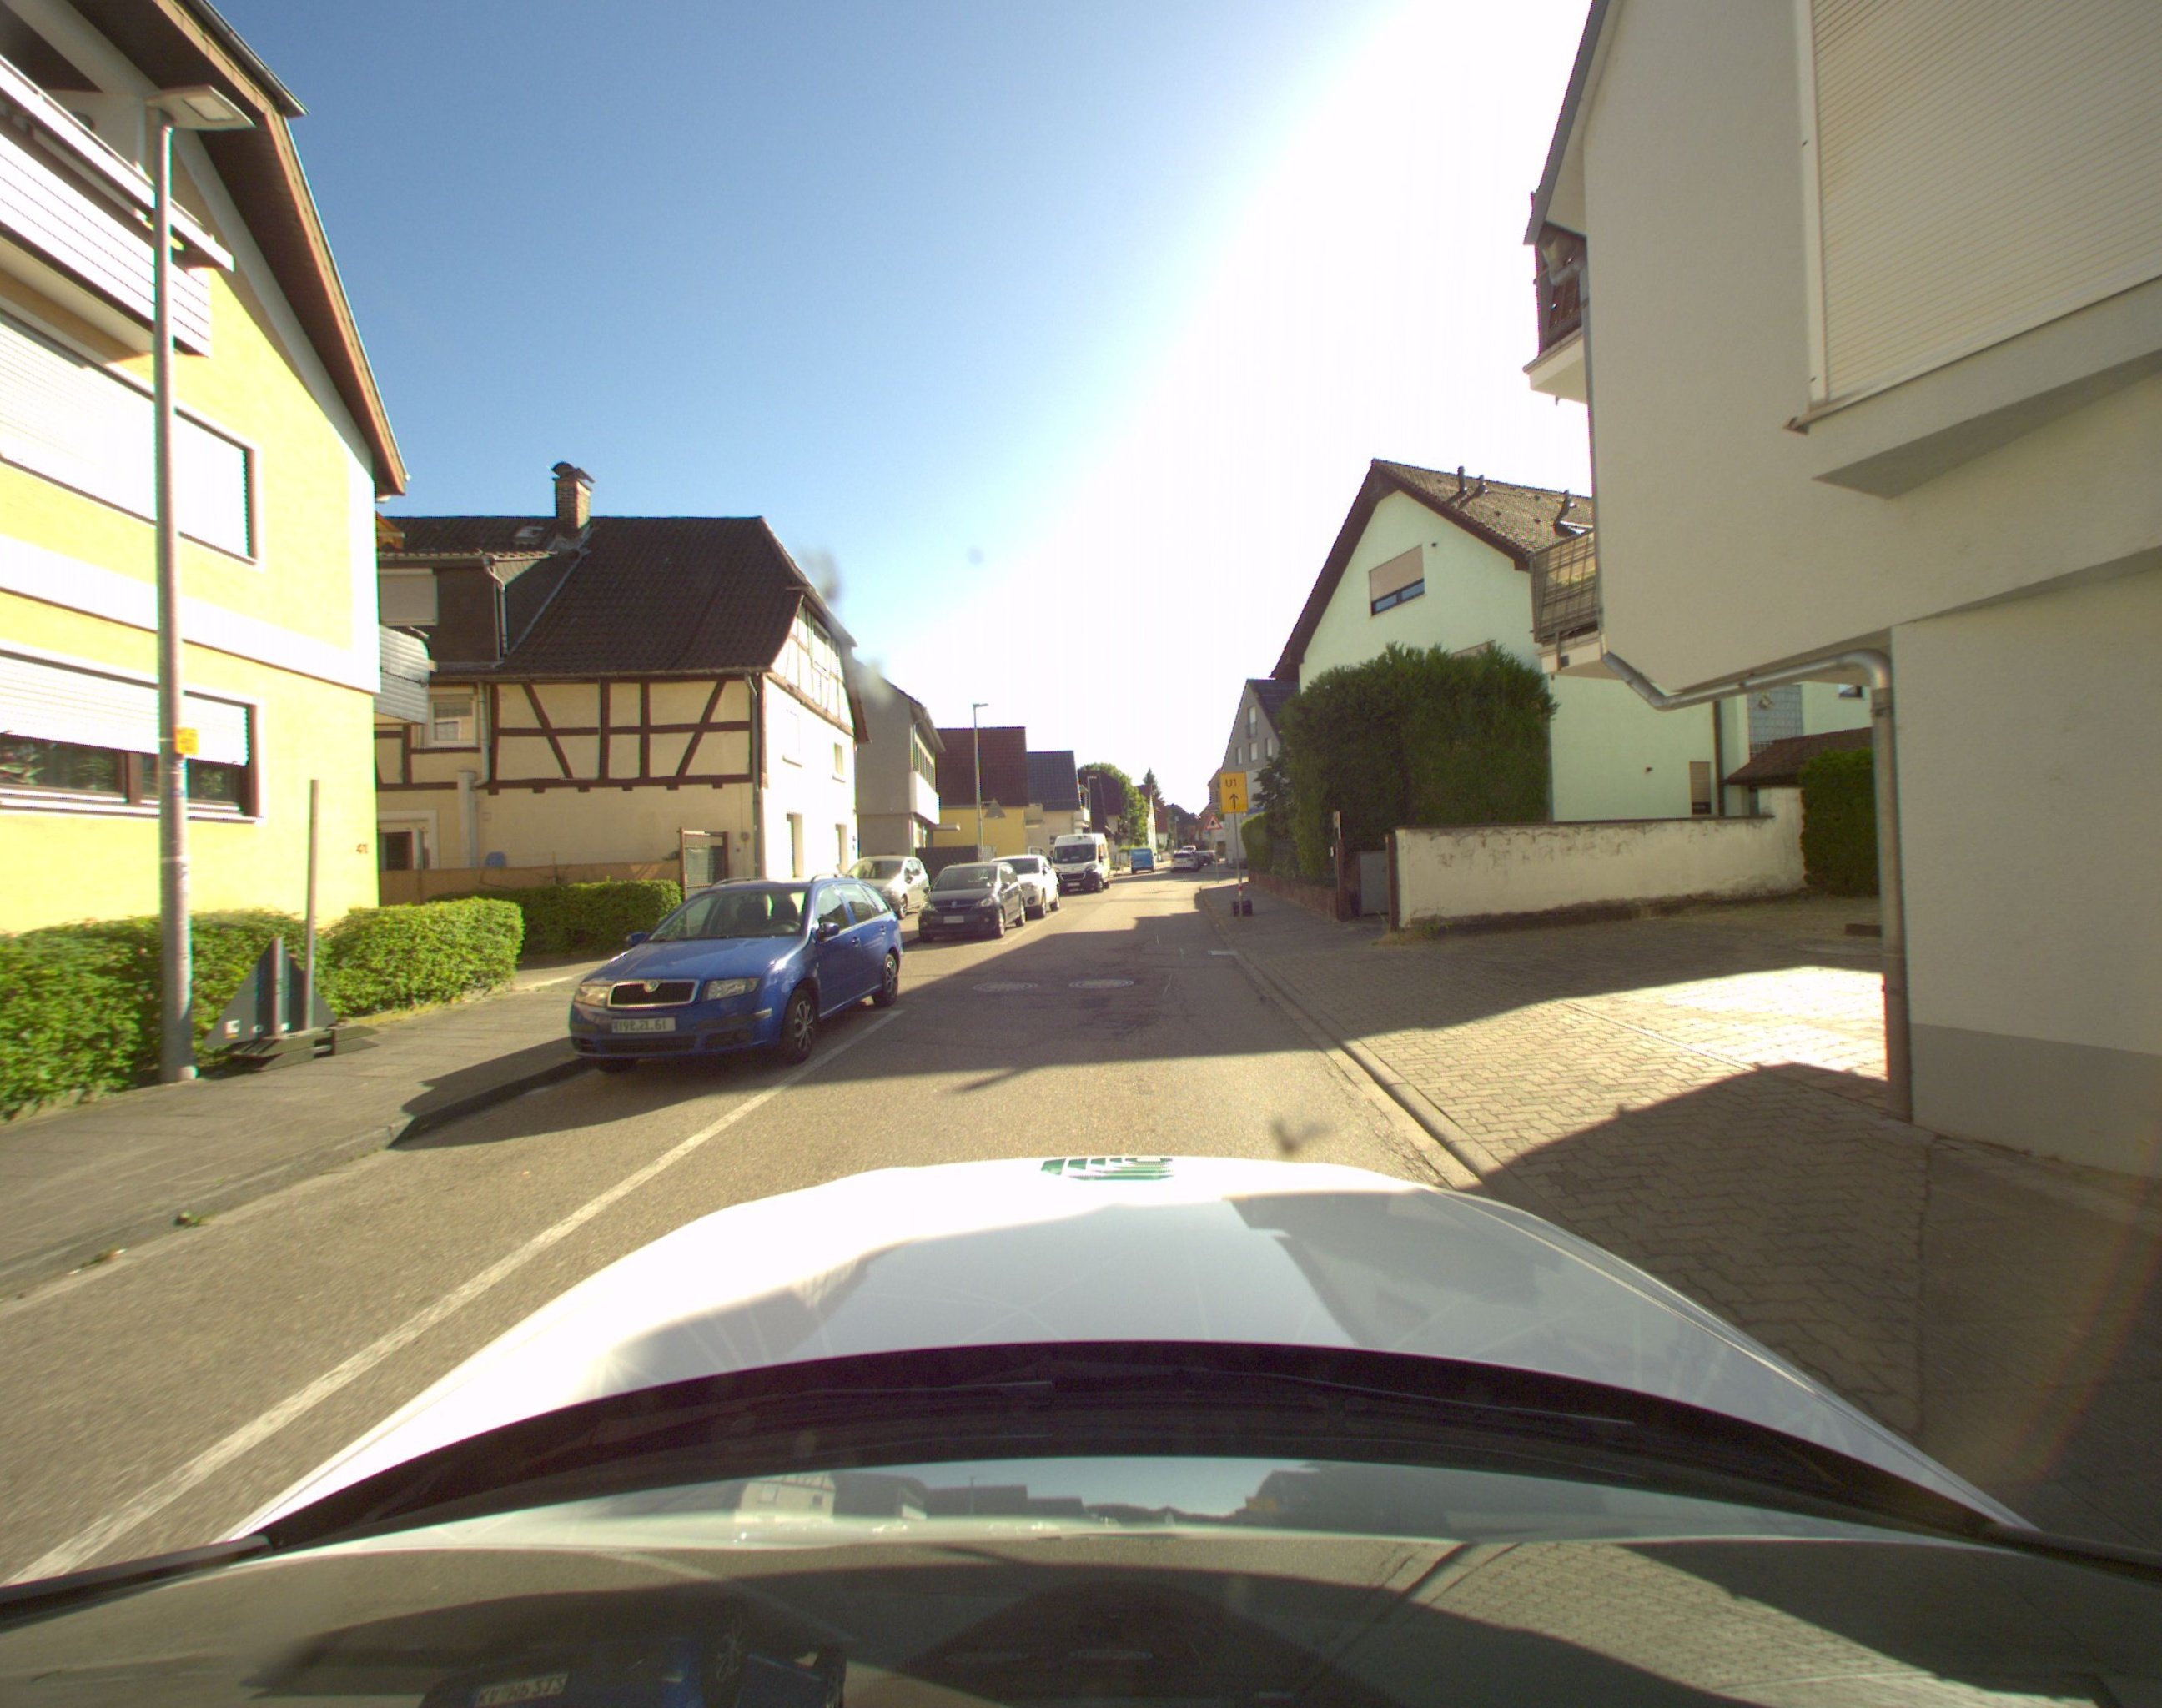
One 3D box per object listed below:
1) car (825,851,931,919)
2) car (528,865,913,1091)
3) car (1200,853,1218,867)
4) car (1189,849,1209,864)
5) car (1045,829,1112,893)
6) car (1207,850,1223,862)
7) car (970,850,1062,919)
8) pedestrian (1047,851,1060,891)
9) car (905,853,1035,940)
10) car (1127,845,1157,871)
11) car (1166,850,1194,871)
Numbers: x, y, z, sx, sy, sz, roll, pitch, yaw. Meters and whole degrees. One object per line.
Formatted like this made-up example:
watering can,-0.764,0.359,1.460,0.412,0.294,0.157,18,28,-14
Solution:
car,-5.195,0.738,21.341,1.716,1.596,4.016,0,0,0
car,-2.888,0.876,7.608,1.633,1.441,4.076,-3,-1,1
car,15.170,0.691,96.377,1.918,1.571,4.012,0,-2,11
car,12.491,0.273,86.049,1.832,1.413,4.013,0,-2,13
car,-0.003,0.286,34.603,2.066,2.394,5.219,-3,0,7
car,17.359,0.273,105.521,1.832,1.413,4.013,0,-2,12
car,-1.617,0.732,21.561,1.665,1.572,3.971,-3,0,5
pedestrian,-1.137,0.706,33.767,0.356,1.626,0.571,-2,-3,7
car,-2.194,0.799,17.216,1.695,1.518,4.128,-4,-1,6
car,4.614,0.283,62.526,1.914,1.801,4.781,-3,1,1
car,7.149,0.510,59.311,1.836,1.413,4.004,0,-2,4
